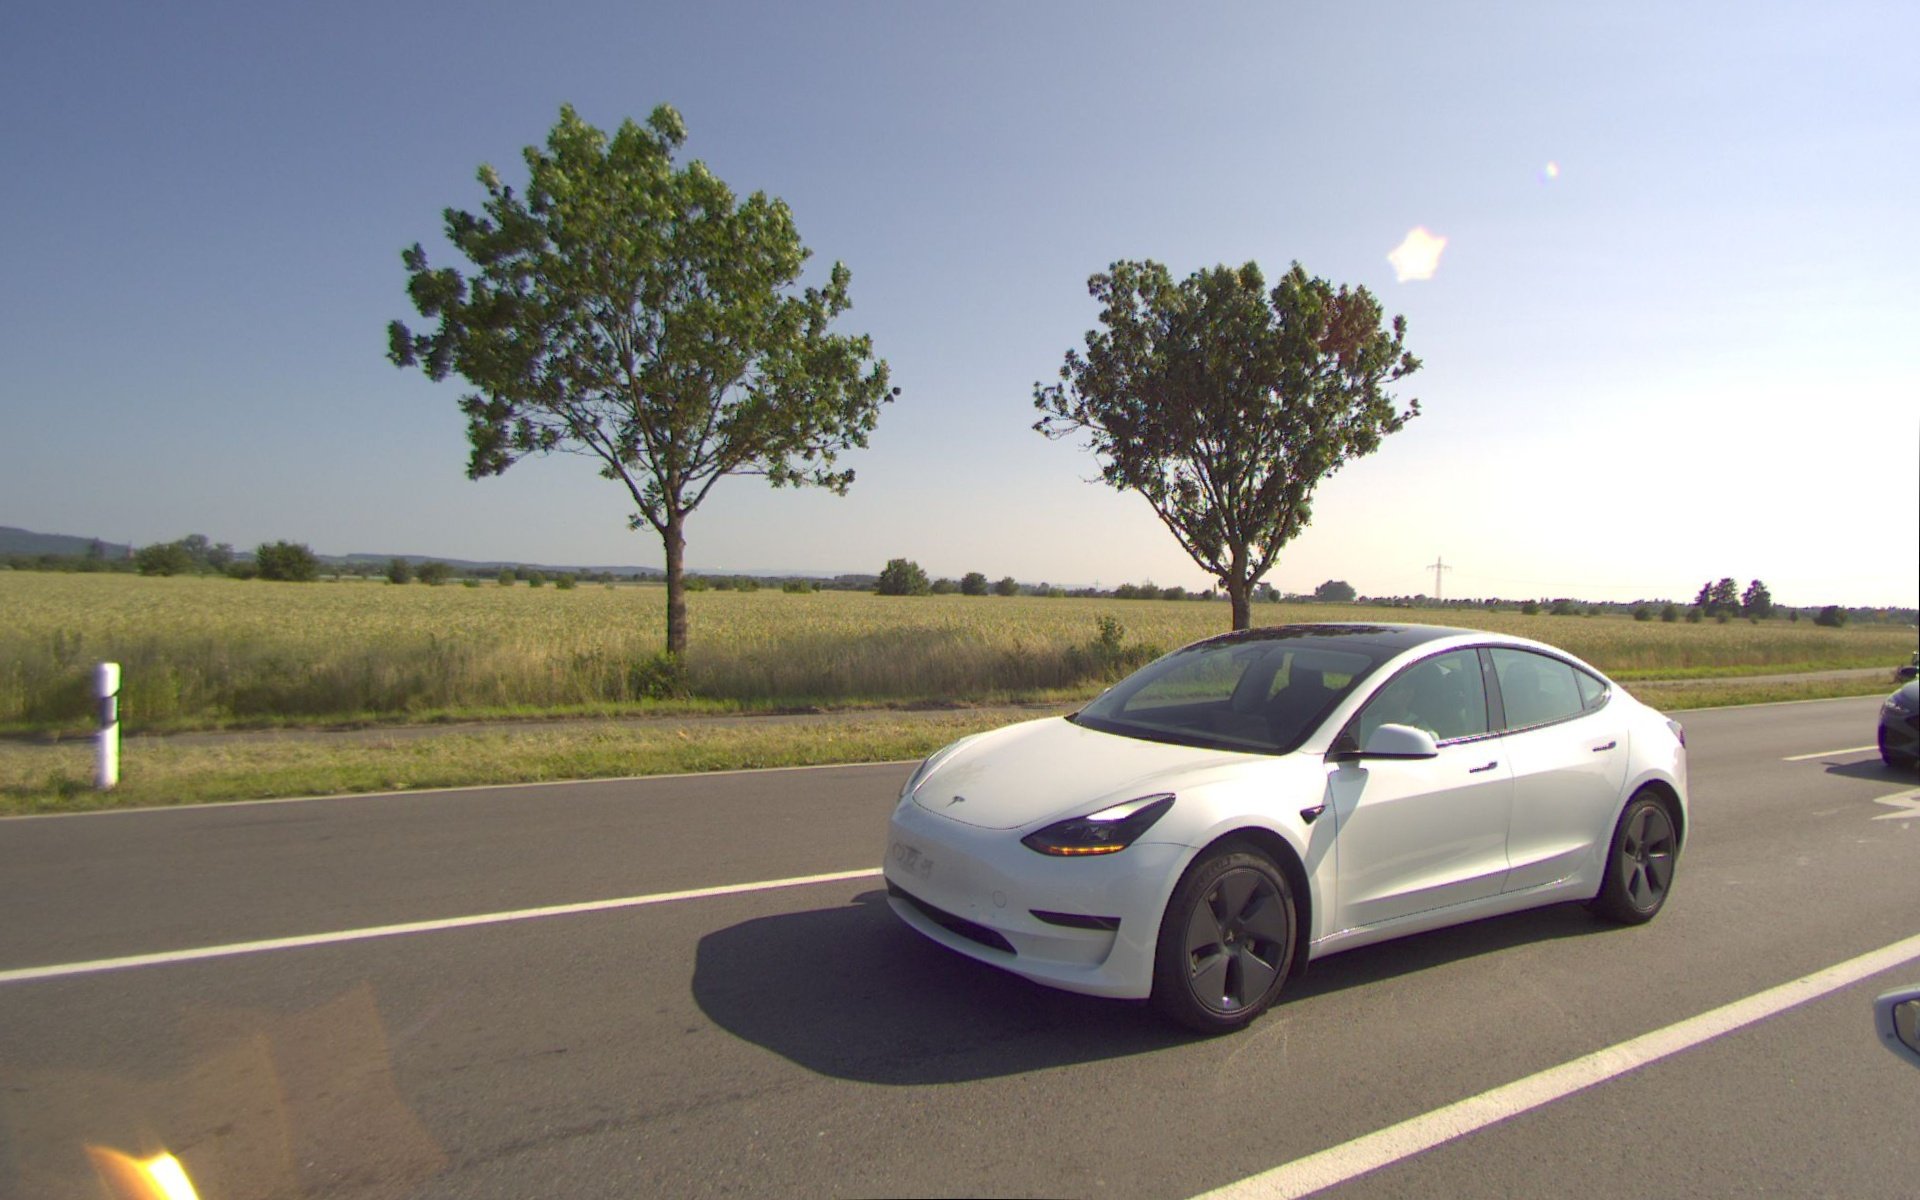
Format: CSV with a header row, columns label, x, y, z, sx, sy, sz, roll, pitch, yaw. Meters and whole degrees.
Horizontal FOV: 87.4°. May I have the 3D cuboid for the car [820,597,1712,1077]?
label,x,y,z,sx,sy,sz,roll,pitch,yaw
car,1.635,0.783,4.997,4.225,1.486,1.881,2,-1,-30

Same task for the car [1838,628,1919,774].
label,x,y,z,sx,sy,sz,roll,pitch,yaw
car,11.772,1.098,11.188,4.258,1.480,1.880,2,-1,-32
